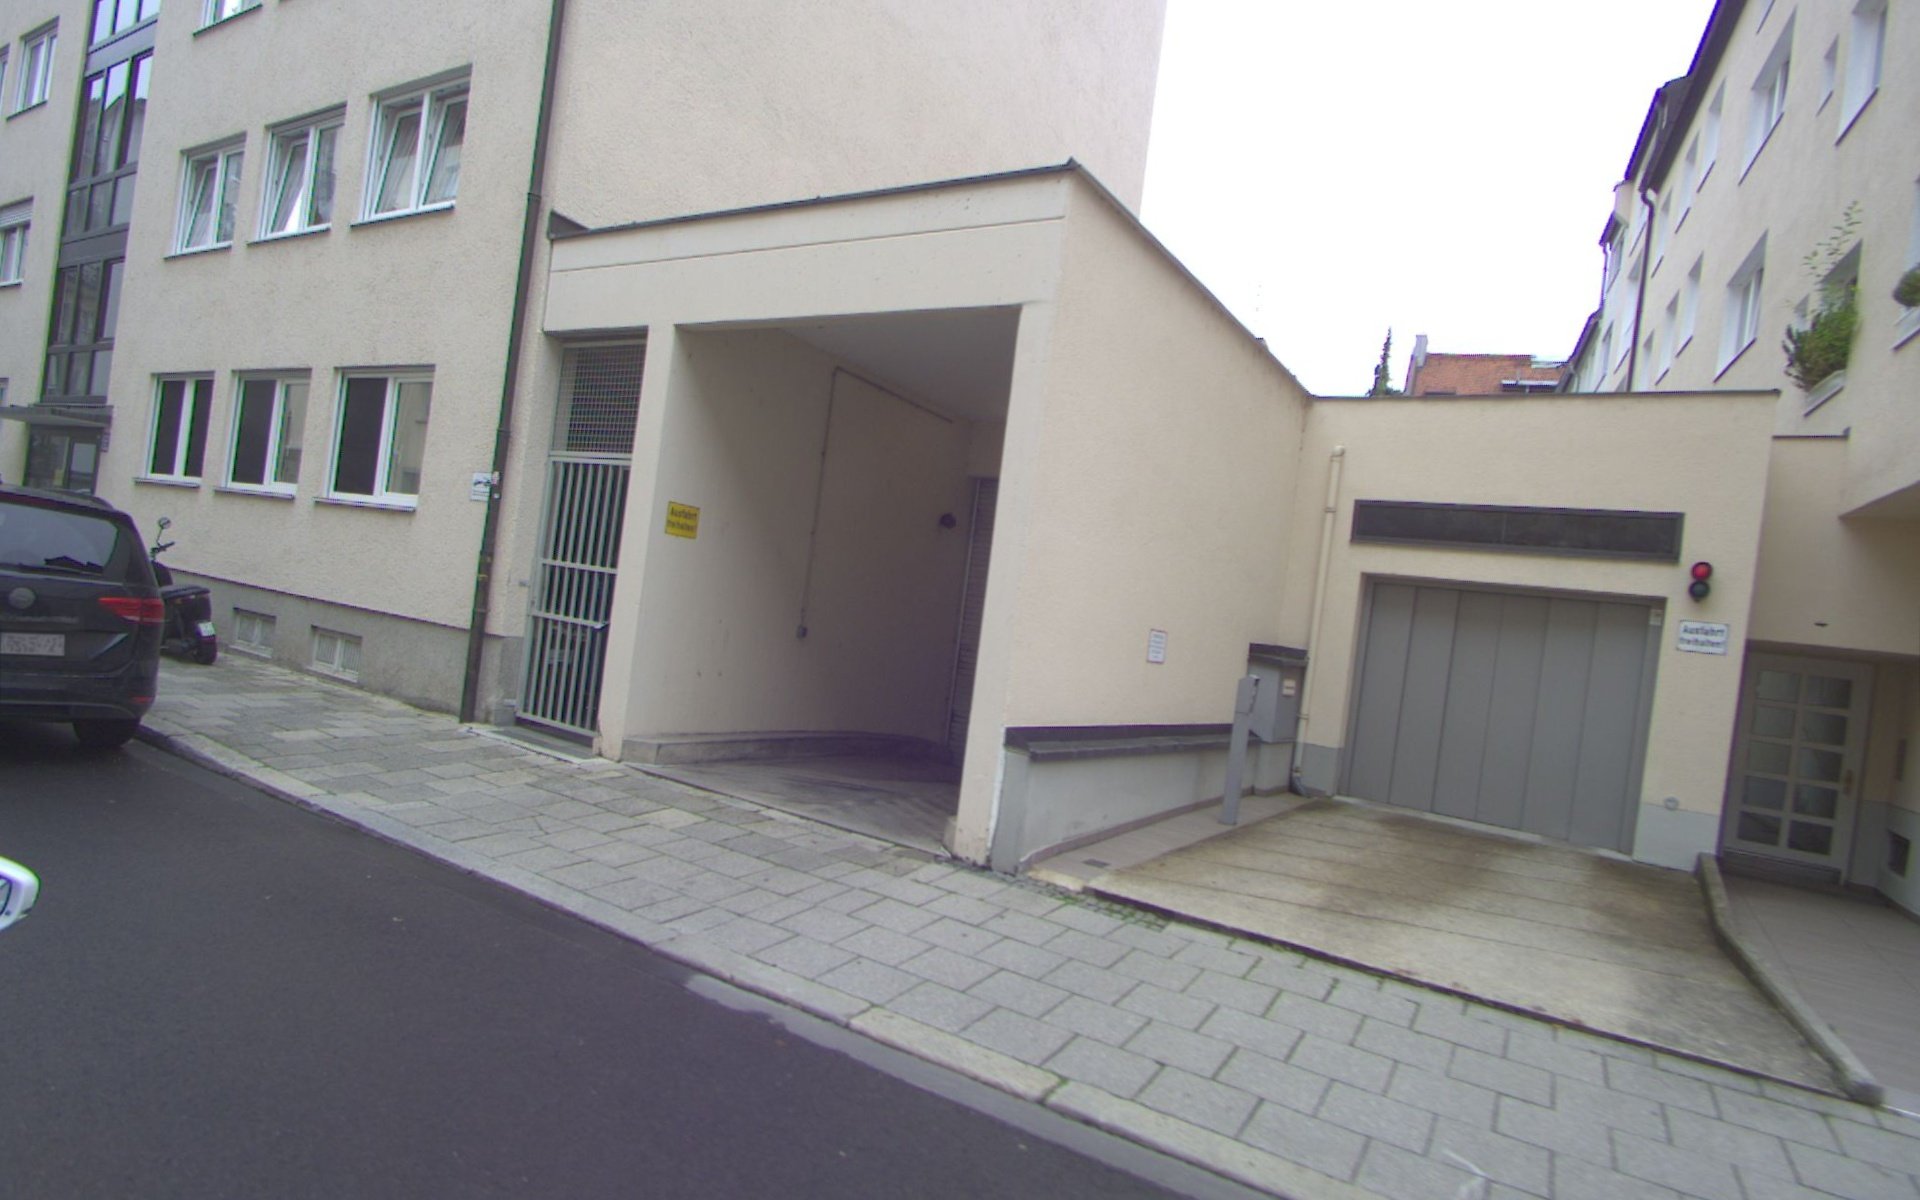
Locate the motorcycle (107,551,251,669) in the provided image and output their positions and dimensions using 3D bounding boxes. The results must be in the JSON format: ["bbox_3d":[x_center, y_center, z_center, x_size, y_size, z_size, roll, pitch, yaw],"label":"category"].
[{"bbox_3d":[-7.900,0.078,10.151,1.879,0.981,0.481,7,3,31],"label":"motorcycle"}]

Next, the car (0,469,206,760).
[{"bbox_3d":[-7.143,-0.105,6.751,4.173,1.626,1.716,6,-2,30],"label":"car"}]
